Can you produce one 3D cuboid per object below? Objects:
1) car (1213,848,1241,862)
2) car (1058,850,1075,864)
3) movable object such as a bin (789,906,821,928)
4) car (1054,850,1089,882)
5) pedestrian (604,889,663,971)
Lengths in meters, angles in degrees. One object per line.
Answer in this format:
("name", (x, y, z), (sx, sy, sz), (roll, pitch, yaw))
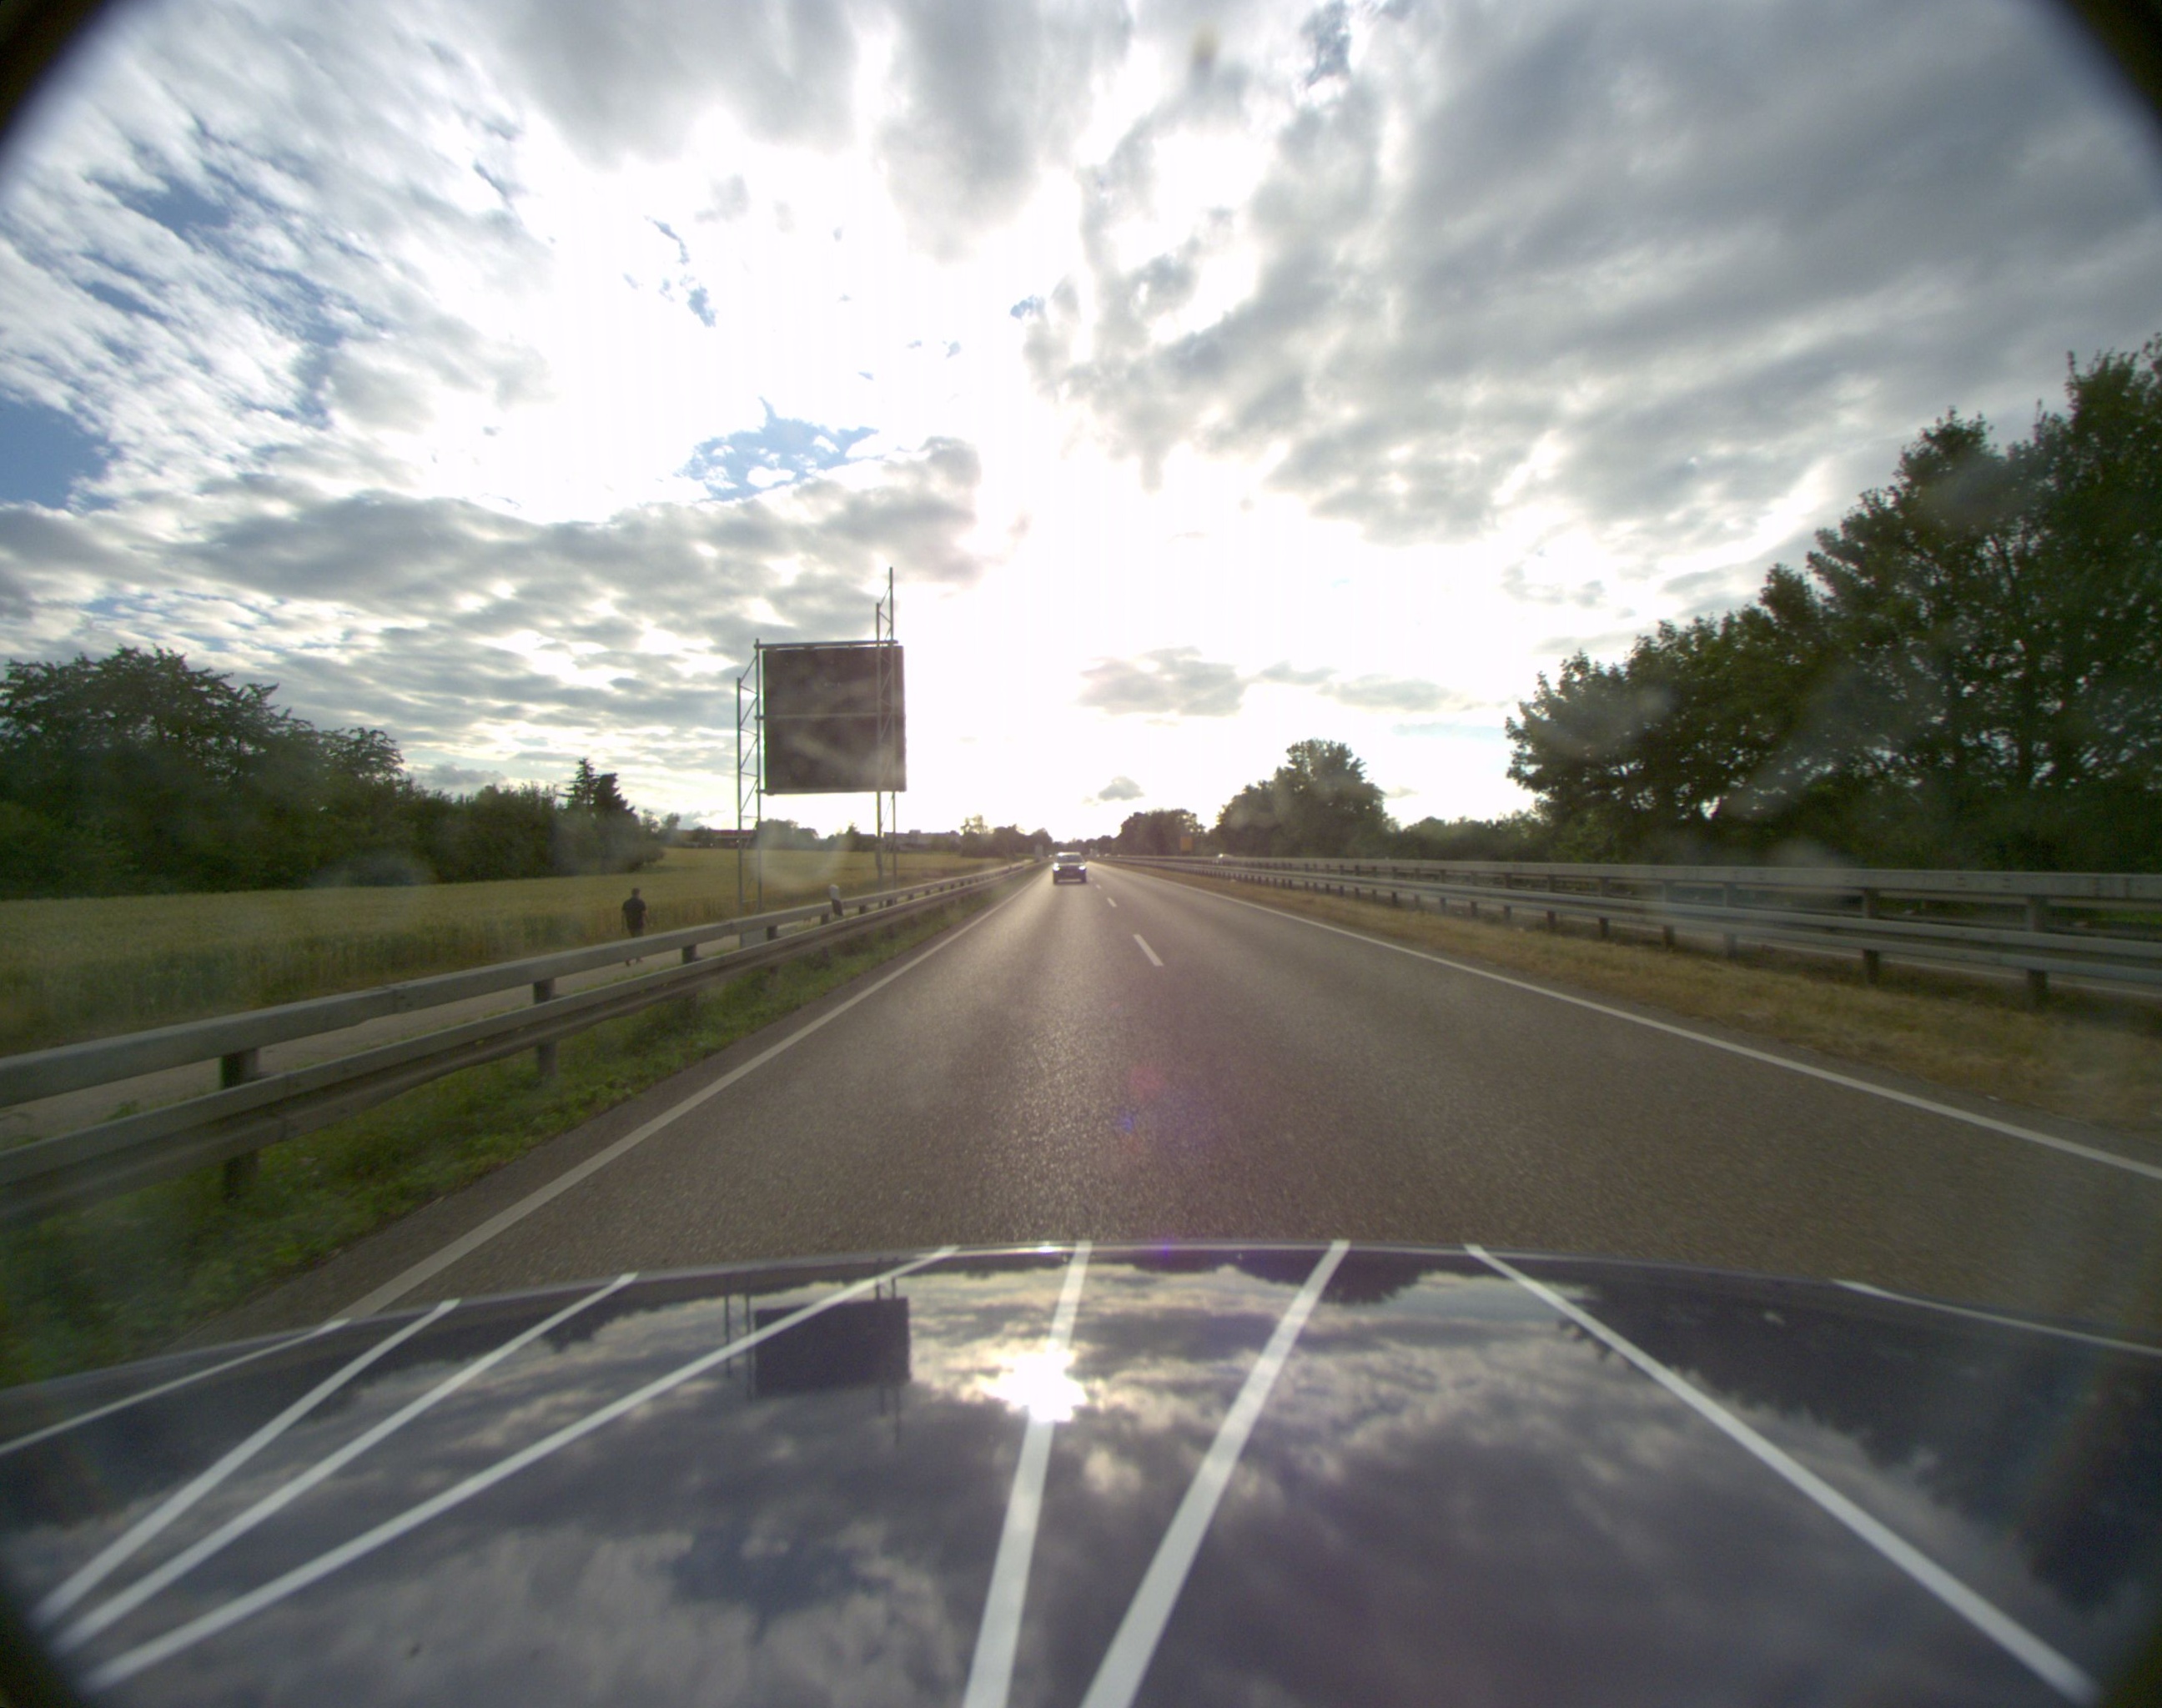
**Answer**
("car", (14.210, 0.114, 74.301), (1.786, 1.344, 4.576), (-1, 0, -1))
("car", (-1.518, 0.282, 79.412), (1.776, 1.389, 3.999), (-2, 1, -1))
("movable object such as a bin", (-10.298, 2.341, 28.369), (0.734, 0.642, 1.235), (-3, 1, -1))
("car", (-0.555, 0.646, 42.858), (1.863, 1.636, 3.999), (-2, 1, -1))
("pedestrian", (-10.802, 1.817, 18.372), (0.773, 1.857, 0.940), (-3, 1, -1))
